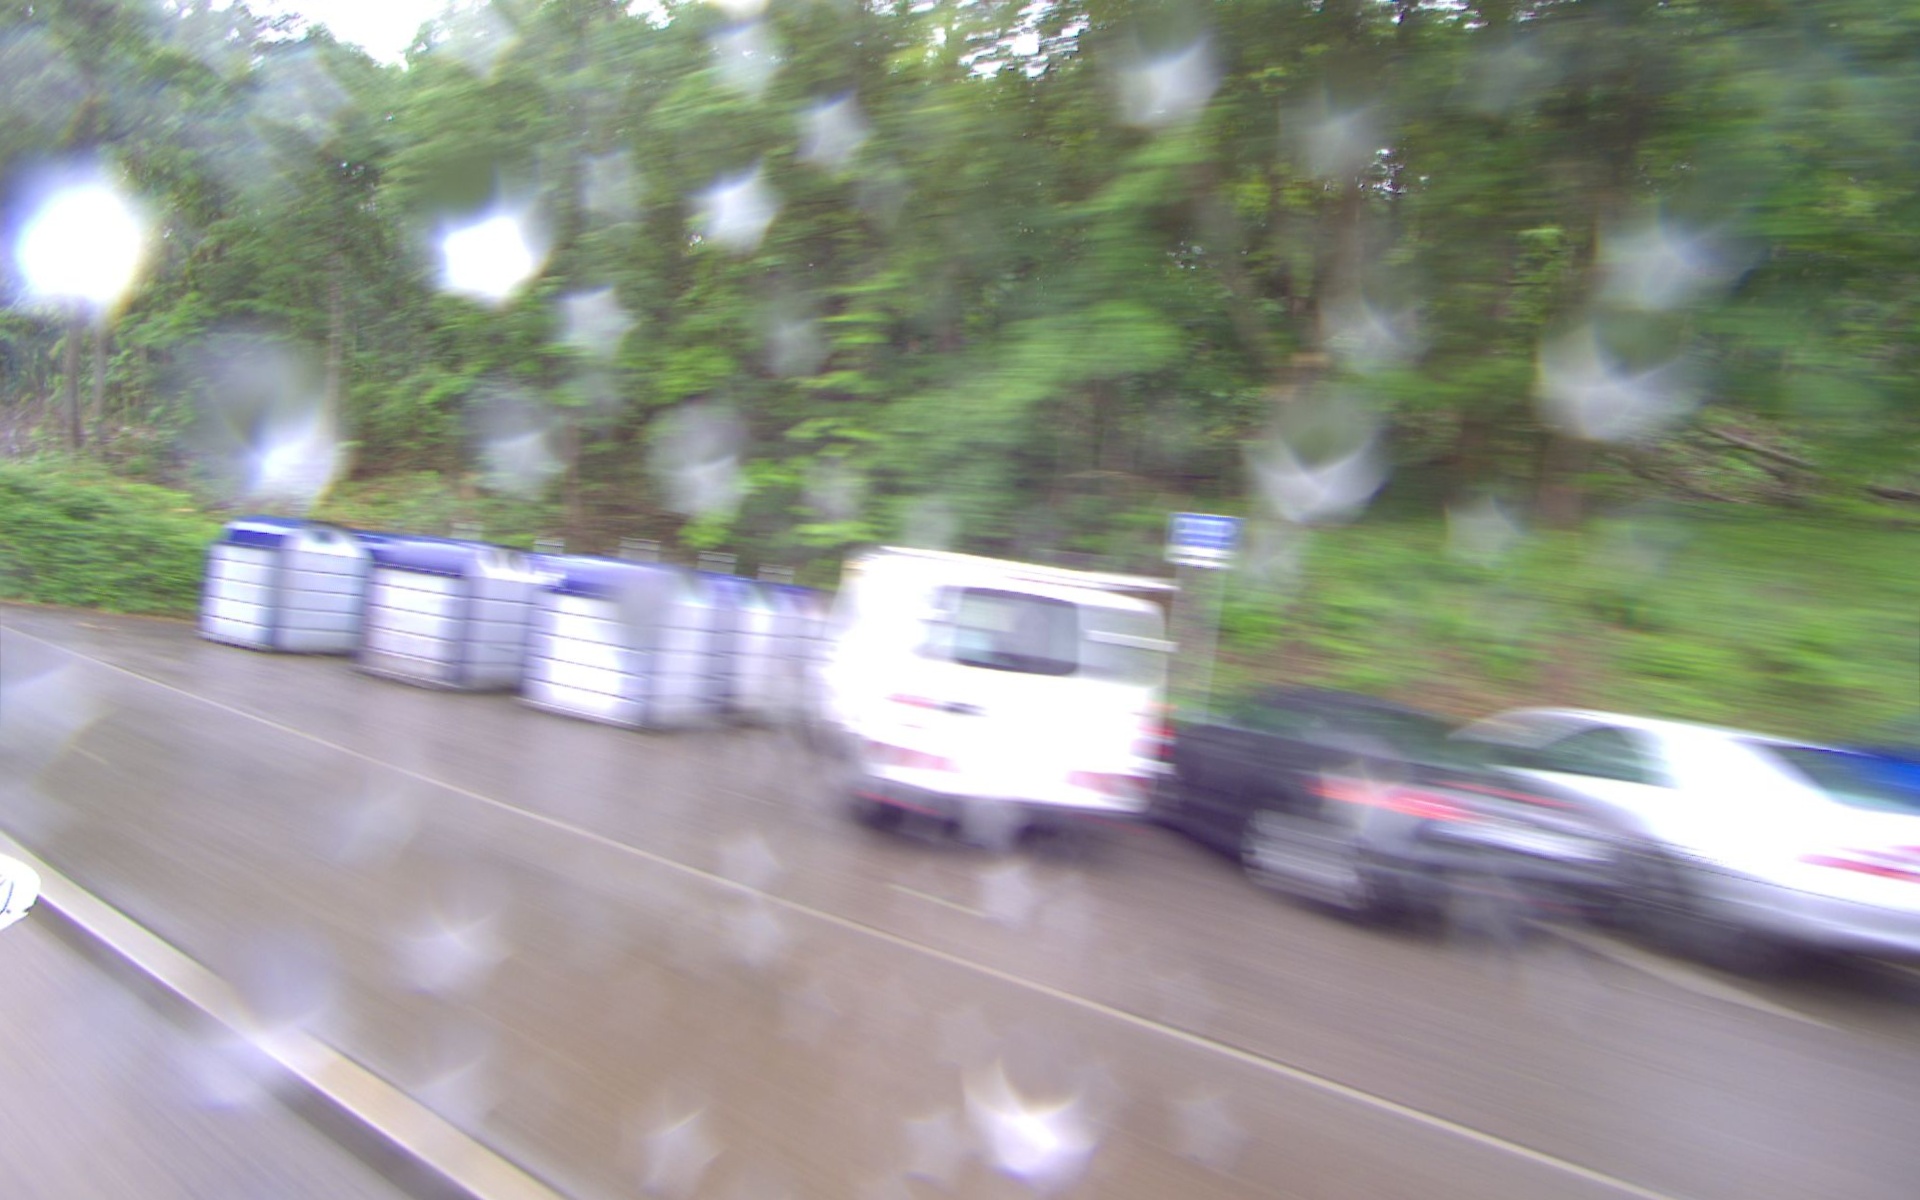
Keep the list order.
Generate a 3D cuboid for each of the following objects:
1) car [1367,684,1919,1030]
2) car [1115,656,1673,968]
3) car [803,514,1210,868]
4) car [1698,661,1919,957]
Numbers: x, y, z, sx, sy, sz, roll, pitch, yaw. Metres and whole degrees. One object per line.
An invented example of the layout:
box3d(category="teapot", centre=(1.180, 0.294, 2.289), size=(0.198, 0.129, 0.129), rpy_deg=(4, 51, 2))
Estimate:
box3d(category="car", centre=(4.958, 1.565, 7.230), size=(1.601, 1.429, 3.984), rpy_deg=(8, -2, -14))
box3d(category="car", centre=(2.715, 1.294, 7.354), size=(1.734, 1.364, 3.788), rpy_deg=(8, -2, -12))
box3d(category="car", centre=(-0.032, 0.619, 8.646), size=(2.122, 1.963, 4.833), rpy_deg=(8, -2, -12))
box3d(category="car", centre=(8.184, 1.684, 6.298), size=(2.294, 1.992, 5.471), rpy_deg=(8, -1, -11))
